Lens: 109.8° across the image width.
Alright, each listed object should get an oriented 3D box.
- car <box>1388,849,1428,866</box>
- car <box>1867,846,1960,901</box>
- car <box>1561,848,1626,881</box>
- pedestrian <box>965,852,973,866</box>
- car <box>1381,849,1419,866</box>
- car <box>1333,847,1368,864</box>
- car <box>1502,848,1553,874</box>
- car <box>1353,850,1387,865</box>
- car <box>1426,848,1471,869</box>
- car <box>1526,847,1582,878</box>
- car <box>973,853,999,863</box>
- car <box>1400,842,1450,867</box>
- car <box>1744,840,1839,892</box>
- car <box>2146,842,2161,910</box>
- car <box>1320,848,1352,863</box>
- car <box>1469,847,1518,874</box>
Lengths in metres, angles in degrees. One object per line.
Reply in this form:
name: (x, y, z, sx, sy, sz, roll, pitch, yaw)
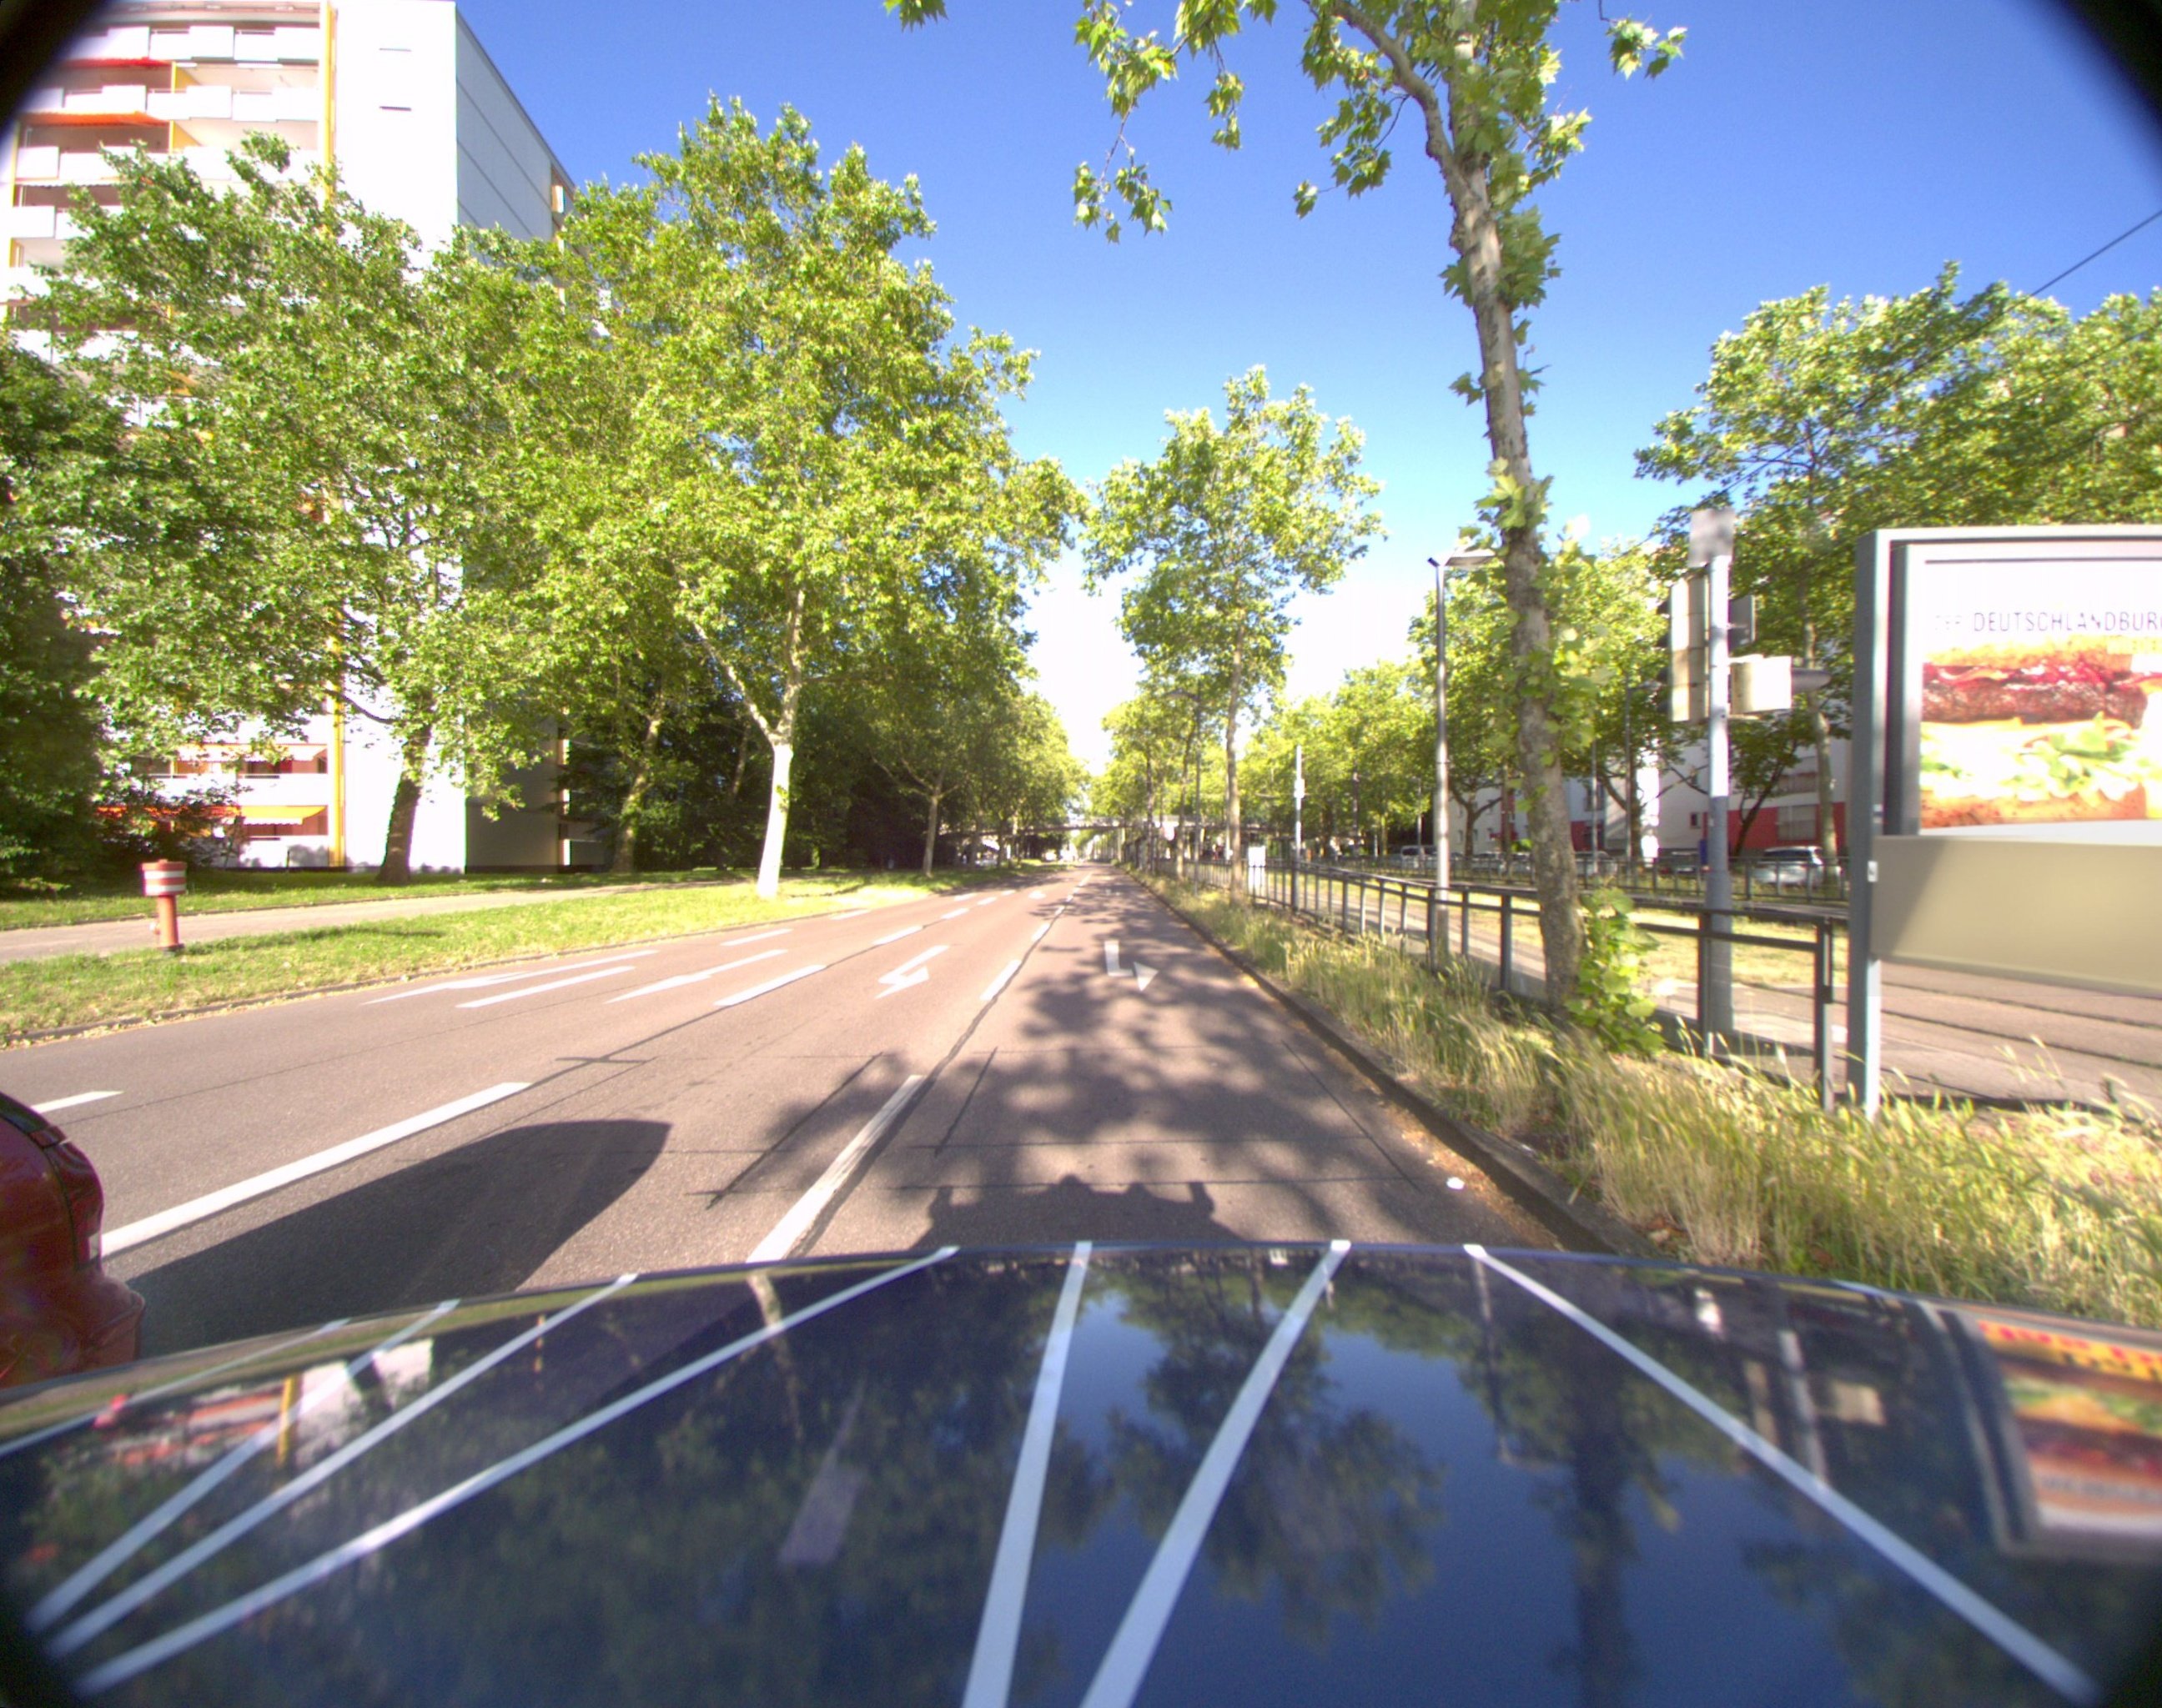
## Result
car: (25.957, 0.269, 60.263, 3.494, 1.336, 1.476, -1, 1, -41)
car: (25.238, 0.540, 23.006, 3.770, 1.420, 1.555, -3, 1, -37)
car: (25.518, 0.519, 37.773, 3.890, 1.406, 1.486, -3, 1, -37)
pedestrian: (-16.613, 0.763, 112.519, 0.918, 2.002, 0.962, -2, 1, 6)
car: (26.871, 0.283, 63.974, 3.494, 1.293, 1.476, -1, 1, -41)
car: (26.065, 0.139, 73.365, 3.835, 1.561, 1.597, -1, 1, -43)
car: (26.262, 0.414, 44.631, 3.493, 1.321, 1.476, -3, 0, -41)
car: (26.537, 0.290, 69.755, 3.494, 1.312, 1.476, -1, 1, -41)
car: (26.071, 0.332, 53.868, 3.494, 1.395, 1.623, -1, 1, -41)
car: (25.770, 0.425, 41.353, 3.402, 1.499, 1.461, -3, 1, -37)
car: (-15.217, 0.623, 121.396, 3.999, 1.465, 1.797, -3, 1, -8)
car: (25.795, 0.018, 56.938, 4.056, 1.802, 1.864, -1, 1, -40)
car: (25.223, 0.403, 26.934, 4.007, 1.586, 1.810, -3, 1, -37)
car: (24.598, 0.529, 16.165, 4.007, 1.479, 1.689, -3, 1, -44)
car: (26.699, 0.139, 79.445, 3.742, 1.517, 1.597, -1, 1, -43)
car: (25.780, 0.397, 47.423, 3.493, 1.417, 1.558, -3, -1, -42)
